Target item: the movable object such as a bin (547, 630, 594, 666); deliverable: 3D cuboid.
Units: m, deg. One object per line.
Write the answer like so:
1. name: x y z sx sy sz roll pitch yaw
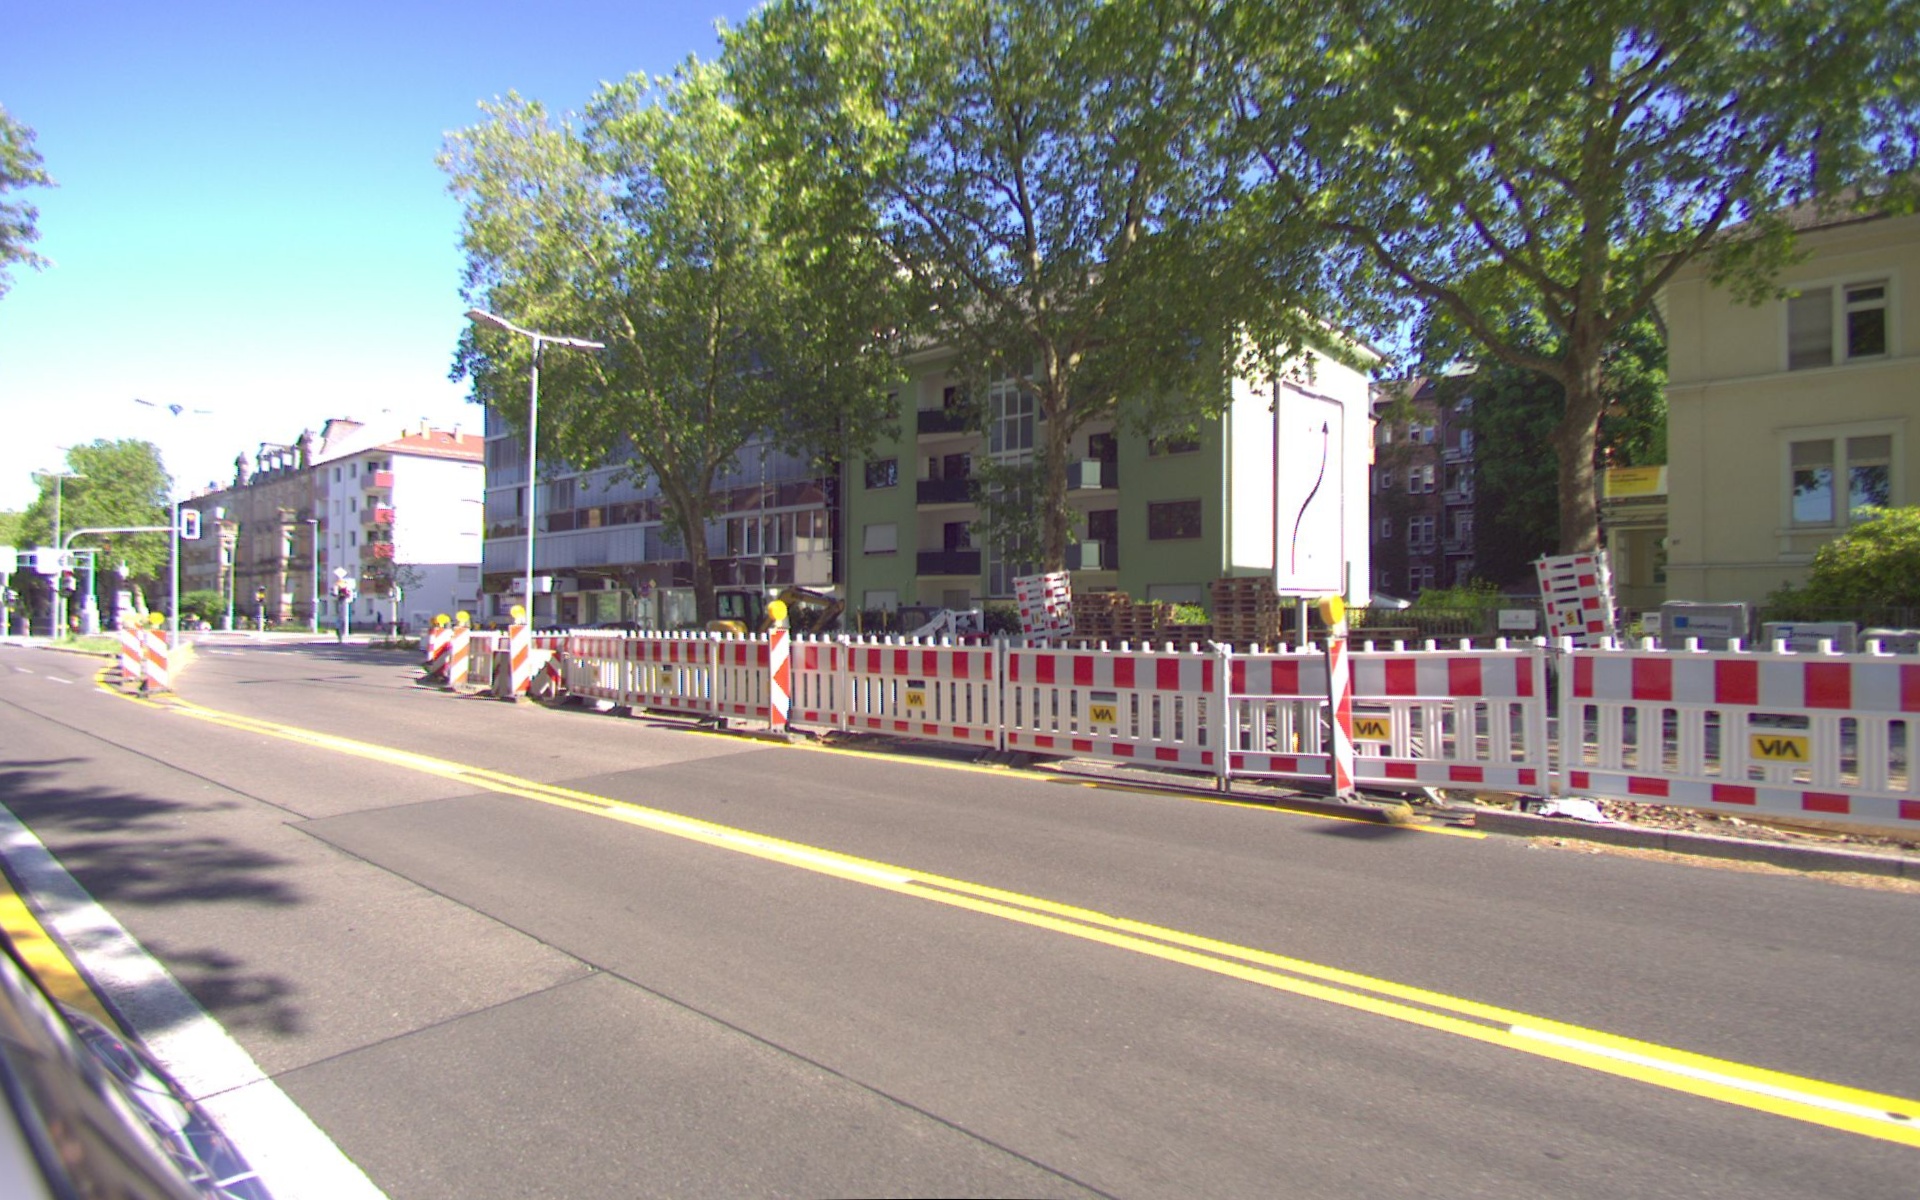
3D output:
1. movable object such as a bin: -14.988 1.844 38.961 1.068 1.348 1.395 -1 -2 42

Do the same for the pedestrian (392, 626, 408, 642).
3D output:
1. pedestrian: -41.336 2.485 74.650 0.785 1.162 0.712 -1 -1 29

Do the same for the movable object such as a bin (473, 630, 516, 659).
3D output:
1. movable object such as a bin: -20.294 1.947 44.119 1.241 1.212 1.379 -1 -1 44

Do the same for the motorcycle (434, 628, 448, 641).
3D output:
1. motorcycle: -39.420 2.599 76.810 0.497 0.943 1.844 1 -2 -42

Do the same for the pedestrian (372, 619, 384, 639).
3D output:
1. pedestrian: -44.402 2.184 77.180 0.695 1.508 0.593 -1 -2 44

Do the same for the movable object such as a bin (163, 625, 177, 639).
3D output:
1. movable object such as a bin: -81.866 3.358 104.847 1.473 1.371 0.883 -3 -5 42

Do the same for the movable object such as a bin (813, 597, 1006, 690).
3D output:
1. movable object such as a bin: -1.495 1.142 27.691 5.599 2.296 1.971 -1 -2 44

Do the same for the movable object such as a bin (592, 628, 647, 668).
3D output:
1. movable object such as a bin: -12.470 1.744 37.103 1.251 1.433 1.627 -1 -1 15

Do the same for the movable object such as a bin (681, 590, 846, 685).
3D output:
1. movable object such as a bin: -6.217 1.127 31.678 5.347 2.727 2.126 -1 -1 38

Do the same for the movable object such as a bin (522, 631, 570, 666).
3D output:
1. movable object such as a bin: -16.533 1.908 40.413 1.157 1.348 1.395 -1 -2 43

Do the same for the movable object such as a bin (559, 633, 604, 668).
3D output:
1. movable object such as a bin: -14.172 1.882 37.911 1.539 1.280 0.969 -1 -2 41

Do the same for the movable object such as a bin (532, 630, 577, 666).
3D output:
1. movable object such as a bin: -15.839 1.876 39.555 0.936 1.348 1.395 -1 -2 43

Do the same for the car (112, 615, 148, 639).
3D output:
1. car: -92.522 3.031 112.788 5.285 2.465 2.221 -3 -5 42

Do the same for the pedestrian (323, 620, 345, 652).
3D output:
1. pedestrian: -34.562 1.967 55.848 0.854 1.724 1.013 1 -2 -42
